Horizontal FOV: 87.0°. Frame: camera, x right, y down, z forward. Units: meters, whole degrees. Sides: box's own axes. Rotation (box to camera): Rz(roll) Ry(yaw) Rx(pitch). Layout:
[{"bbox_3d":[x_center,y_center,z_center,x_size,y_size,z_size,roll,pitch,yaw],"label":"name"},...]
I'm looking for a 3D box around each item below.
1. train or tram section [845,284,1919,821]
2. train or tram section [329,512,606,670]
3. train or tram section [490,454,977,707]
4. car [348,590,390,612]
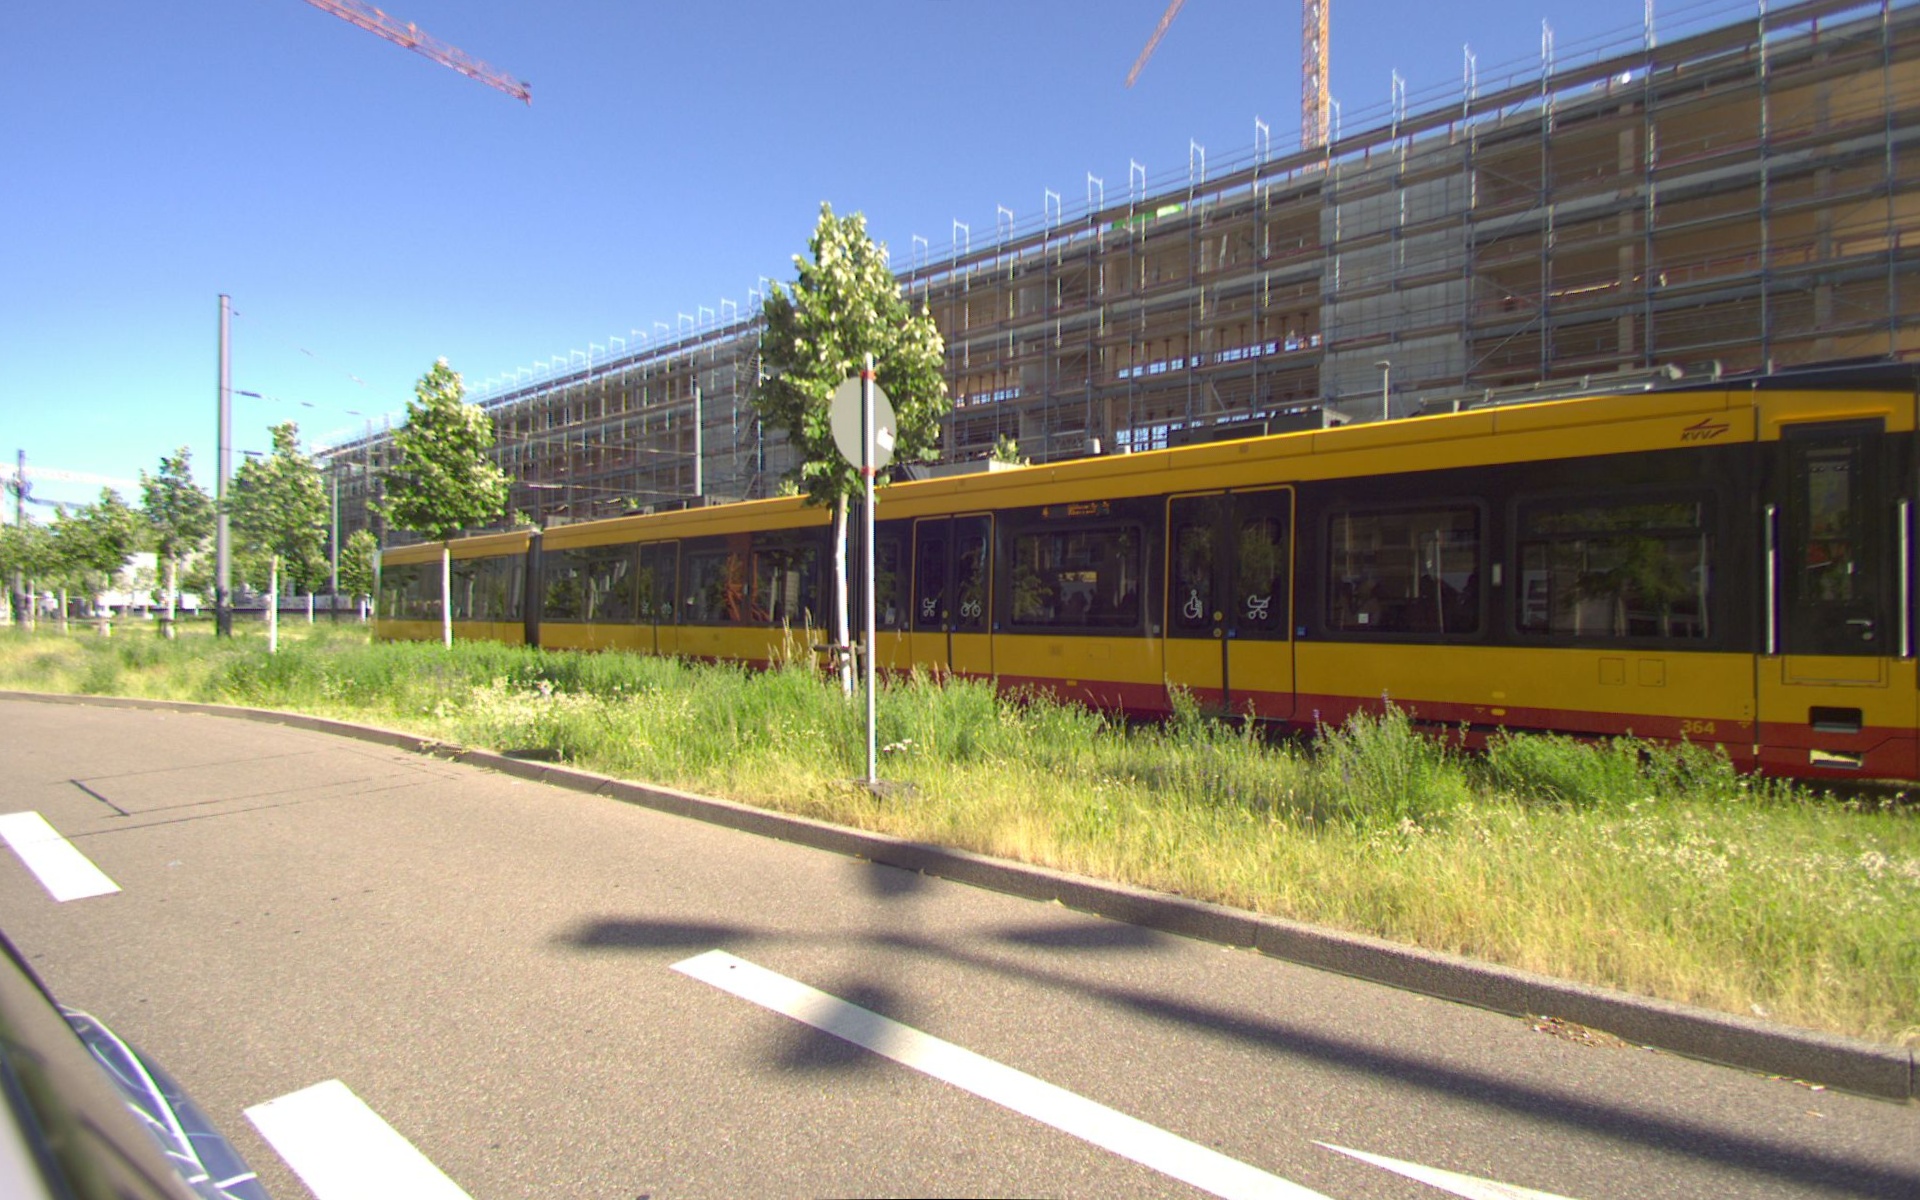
[{"bbox_3d":[3.909,-0.284,11.355,12.791,3.666,2.784,0,-1,43],"label":"train or tram section"},{"bbox_3d":[-14.515,-0.157,28.875,12.791,3.666,2.784,0,-1,43],"label":"train or tram section"},{"bbox_3d":[-5.305,-0.231,20.100,12.791,3.666,2.784,0,-1,43],"label":"train or tram section"},{"bbox_3d":[-47.751,0.094,81.768,3.999,1.663,1.771,0,-1,42],"label":"car"}]
